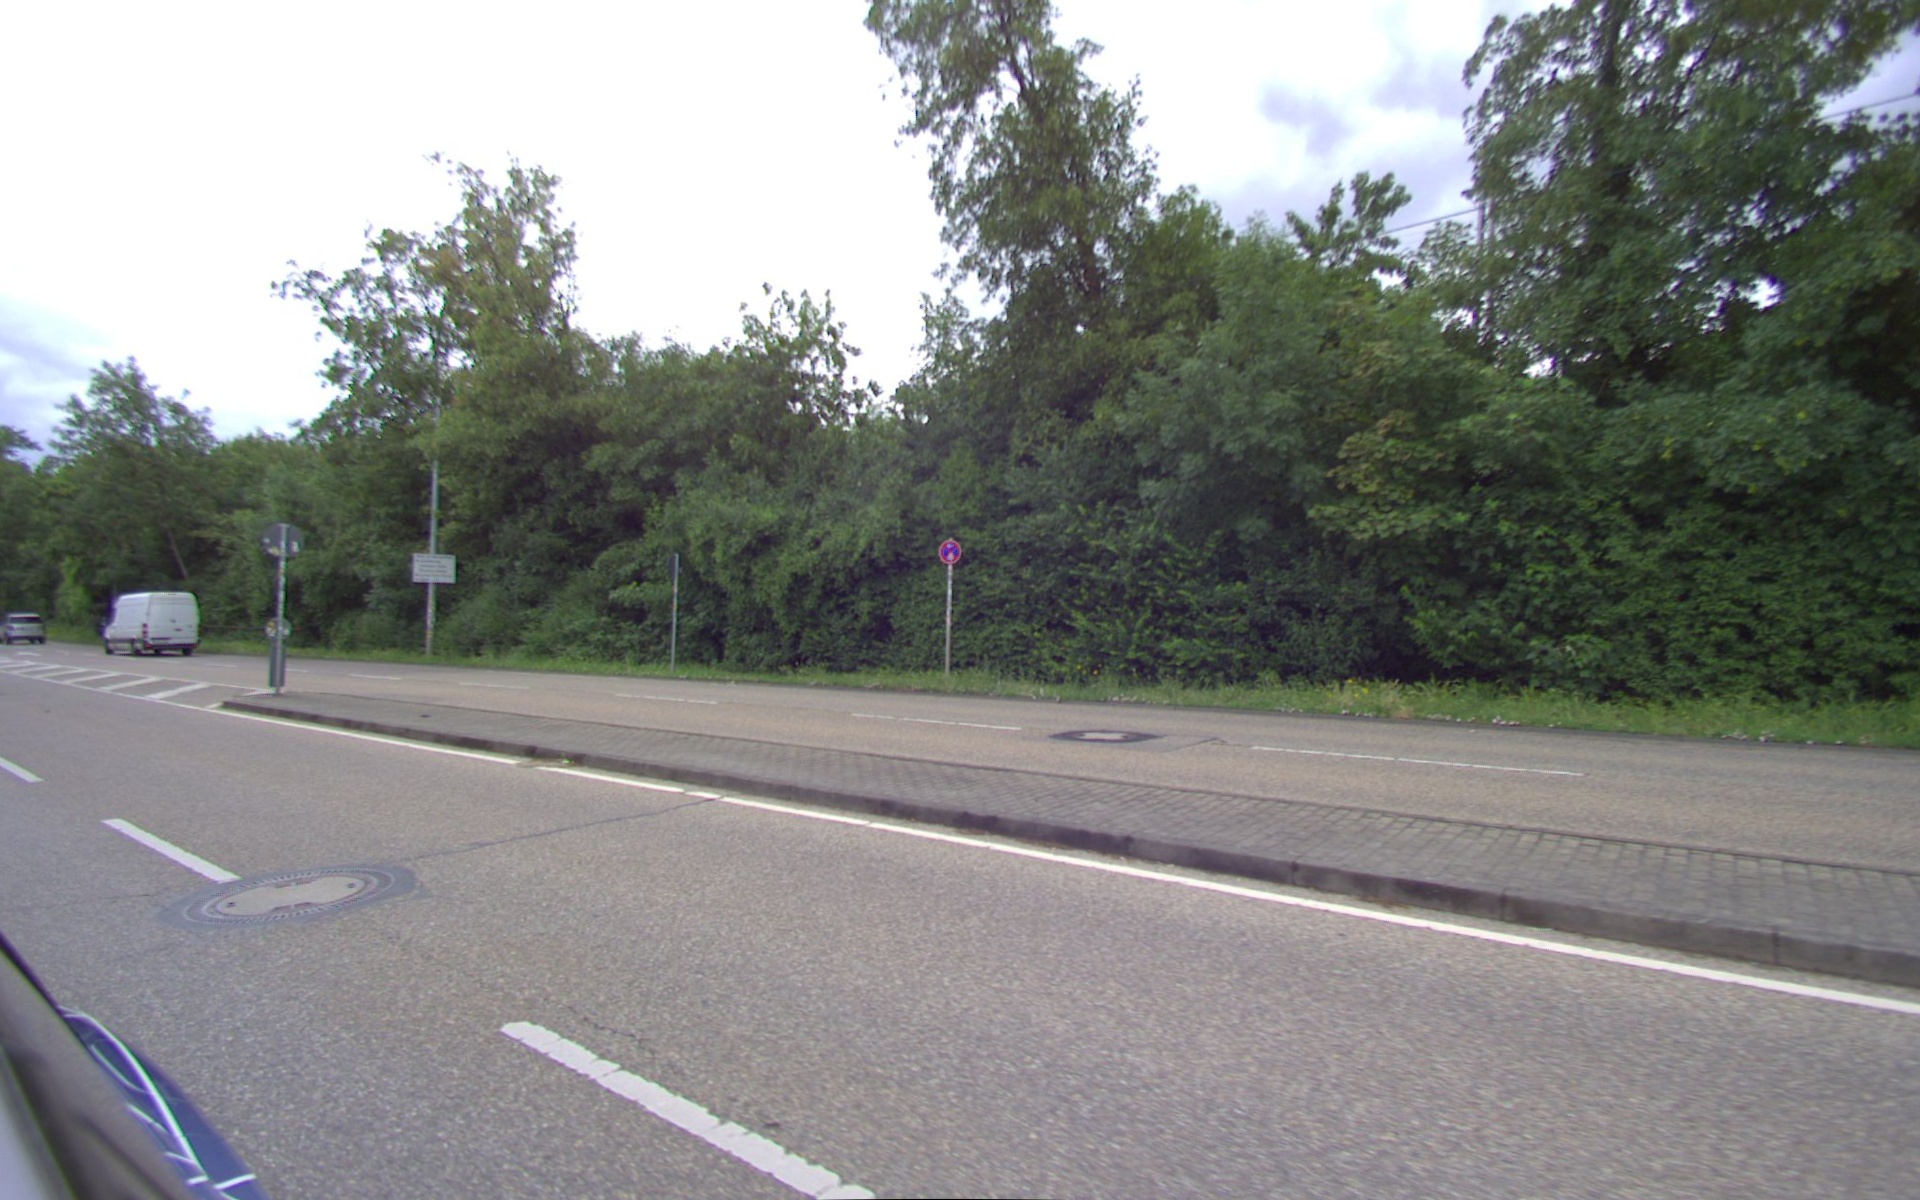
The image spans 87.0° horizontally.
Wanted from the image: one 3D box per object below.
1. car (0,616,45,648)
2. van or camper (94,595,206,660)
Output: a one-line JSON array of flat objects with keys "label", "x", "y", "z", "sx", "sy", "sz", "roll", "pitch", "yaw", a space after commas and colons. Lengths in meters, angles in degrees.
[{"label": "car", "x": -56.653, "y": 1.939, "z": 60.727, "sx": 4.376, "sy": 1.844, "sz": 1.796, "roll": -2, "pitch": -3, "yaw": 37}, {"label": "van or camper", "x": -34.363, "y": 1.143, "z": 42.848, "sx": 6.851, "sy": 2.574, "sz": 2.261, "roll": -1, "pitch": -1, "yaw": 39}]
